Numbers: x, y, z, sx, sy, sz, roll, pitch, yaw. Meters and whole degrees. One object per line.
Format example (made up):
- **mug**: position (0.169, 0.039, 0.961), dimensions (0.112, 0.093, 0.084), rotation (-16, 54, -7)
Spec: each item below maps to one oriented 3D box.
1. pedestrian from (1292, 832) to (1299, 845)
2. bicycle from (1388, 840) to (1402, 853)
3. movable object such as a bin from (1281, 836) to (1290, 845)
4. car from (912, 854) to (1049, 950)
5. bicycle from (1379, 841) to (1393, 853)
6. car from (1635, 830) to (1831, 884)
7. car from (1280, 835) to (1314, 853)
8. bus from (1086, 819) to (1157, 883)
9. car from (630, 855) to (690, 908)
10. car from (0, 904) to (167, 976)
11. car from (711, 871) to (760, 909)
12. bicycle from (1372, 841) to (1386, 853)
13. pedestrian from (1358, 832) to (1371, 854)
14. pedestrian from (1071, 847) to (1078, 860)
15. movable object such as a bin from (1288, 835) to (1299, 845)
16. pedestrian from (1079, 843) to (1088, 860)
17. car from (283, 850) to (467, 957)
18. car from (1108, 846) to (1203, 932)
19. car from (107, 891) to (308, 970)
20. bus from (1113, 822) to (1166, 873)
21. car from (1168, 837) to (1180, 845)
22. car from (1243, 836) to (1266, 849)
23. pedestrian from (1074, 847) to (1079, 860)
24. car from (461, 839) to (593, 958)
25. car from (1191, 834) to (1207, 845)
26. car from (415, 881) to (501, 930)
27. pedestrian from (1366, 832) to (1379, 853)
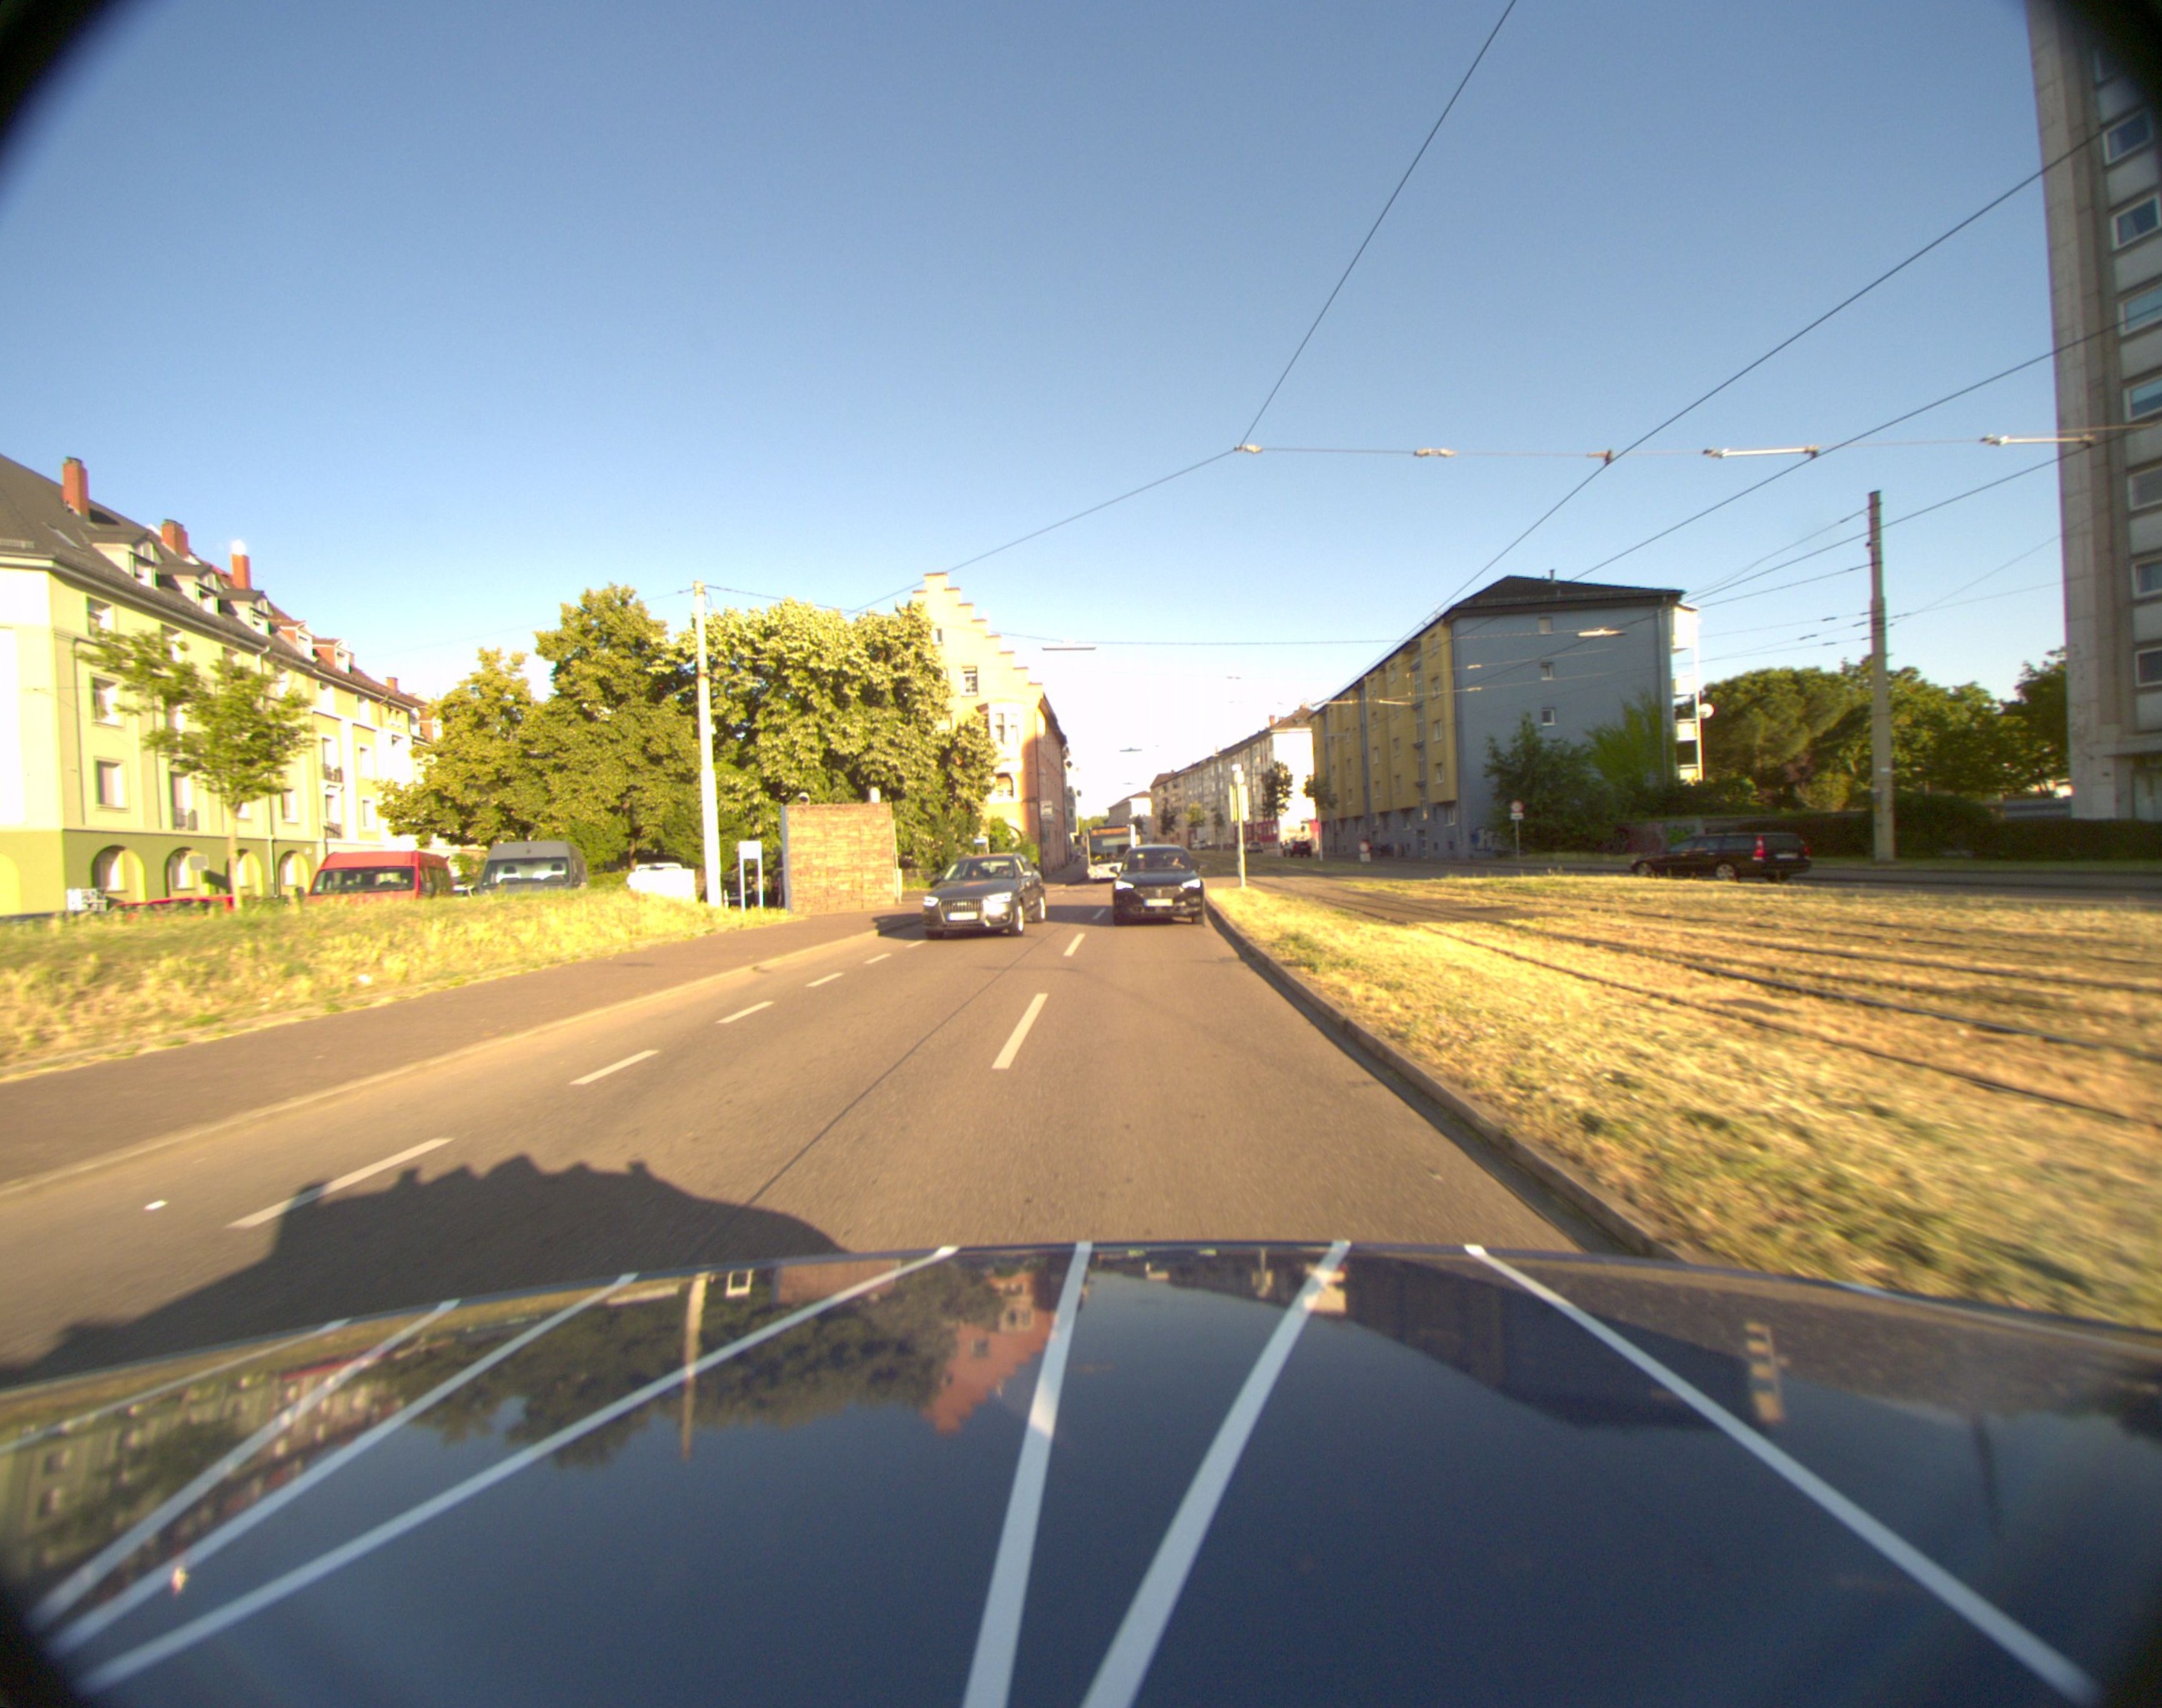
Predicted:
- **pedestrian**: position (26.781, -1.941, 94.809), dimensions (0.615, 1.679, 0.791), rotation (-3, 1, -3)
- **bicycle**: position (24.601, -0.590, 59.556), dimensions (0.428, 0.954, 1.912), rotation (-2, 1, 4)
- **movable object such as a bin**: position (27.398, -1.811, 101.861), dimensions (0.868, 1.219, 0.806), rotation (-3, 2, -2)
- **car**: position (-1.858, 0.854, 15.408), dimensions (1.770, 1.578, 4.069), rotation (-3, 0, 6)
- **bicycle**: position (24.674, -0.570, 61.493), dimensions (0.428, 0.920, 1.912), rotation (-6, 1, 4)
- **car**: position (19.446, 0.085, 22.965), dimensions (1.782, 1.473, 4.396), rotation (0, 0, -9)
- **car**: position (20.337, -0.907, 71.785), dimensions (1.923, 1.652, 4.709), rotation (-2, 0, 1)
- **bus**: position (2.547, -0.260, 43.278), dimensions (2.729, 3.059, 10.605), rotation (-3, 1, 9)
- **car**: position (-17.562, 1.079, 31.591), dimensions (1.929, 1.967, 4.738), rotation (-3, 1, -31)
- **car**: position (-21.758, 1.788, 16.173), dimensions (1.709, 1.155, 3.698), rotation (-3, 1, -29)
- **car**: position (-14.977, 1.506, 32.869), dimensions (1.633, 1.450, 3.438), rotation (-3, 1, -28)
- **bicycle**: position (24.599, -0.572, 62.772), dimensions (0.428, 0.920, 1.912), rotation (-6, 1, 4)
- **pedestrian**: position (23.366, -0.920, 62.567), dimensions (0.594, 1.763, 0.885), rotation (-7, 1, 2)
- **pedestrian**: position (-0.661, -0.052, 78.205), dimensions (0.588, 1.244, 0.584), rotation (-2, 1, 2)
- **movable object such as a bin**: position (28.529, -1.898, 102.020), dimensions (1.161, 1.279, 0.806), rotation (-3, 2, -2)
- **pedestrian**: position (0.234, -0.277, 78.154), dimensions (0.832, 1.761, 0.996), rotation (-2, 1, 2)
- **car**: position (-17.198, 1.065, 18.885), dimensions (2.046, 2.201, 5.402), rotation (-3, 1, -29)
- **car**: position (1.638, 0.659, 16.665), dimensions (1.787, 1.615, 4.217), rotation (-1, 1, 6)
- **car**: position (-19.854, 1.644, 17.515), dimensions (1.782, 1.366, 3.881), rotation (-3, 1, -29)
- **bus**: position (4.309, -0.543, 53.770), dimensions (2.710, 3.059, 10.605), rotation (-3, 1, 9)
- **car**: position (18.138, -2.615, 148.645), dimensions (1.798, 1.461, 4.794), rotation (-1, 2, -1)
- **car**: position (20.956, -1.415, 91.880), dimensions (1.702, 1.451, 4.315), rotation (-1, 1, 0)
- **pedestrian**: position (-0.484, -0.081, 78.900), dimensions (0.515, 1.337, 0.609), rotation (-2, 2, -2)
- **car**: position (-14.586, 1.020, 20.391), dimensions (2.046, 2.651, 6.201), rotation (-3, 1, -29)
- **car**: position (21.513, -2.588, 138.742), dimensions (1.872, 1.819, 4.419), rotation (-2, 1, -6)
- **car**: position (-23.548, 1.889, 28.876), dimensions (1.929, 1.531, 3.897), rotation (-3, 1, -31)
- **pedestrian**: position (24.001, -0.919, 62.559), dimensions (0.618, 1.685, 0.706), rotation (-7, 1, 2)
